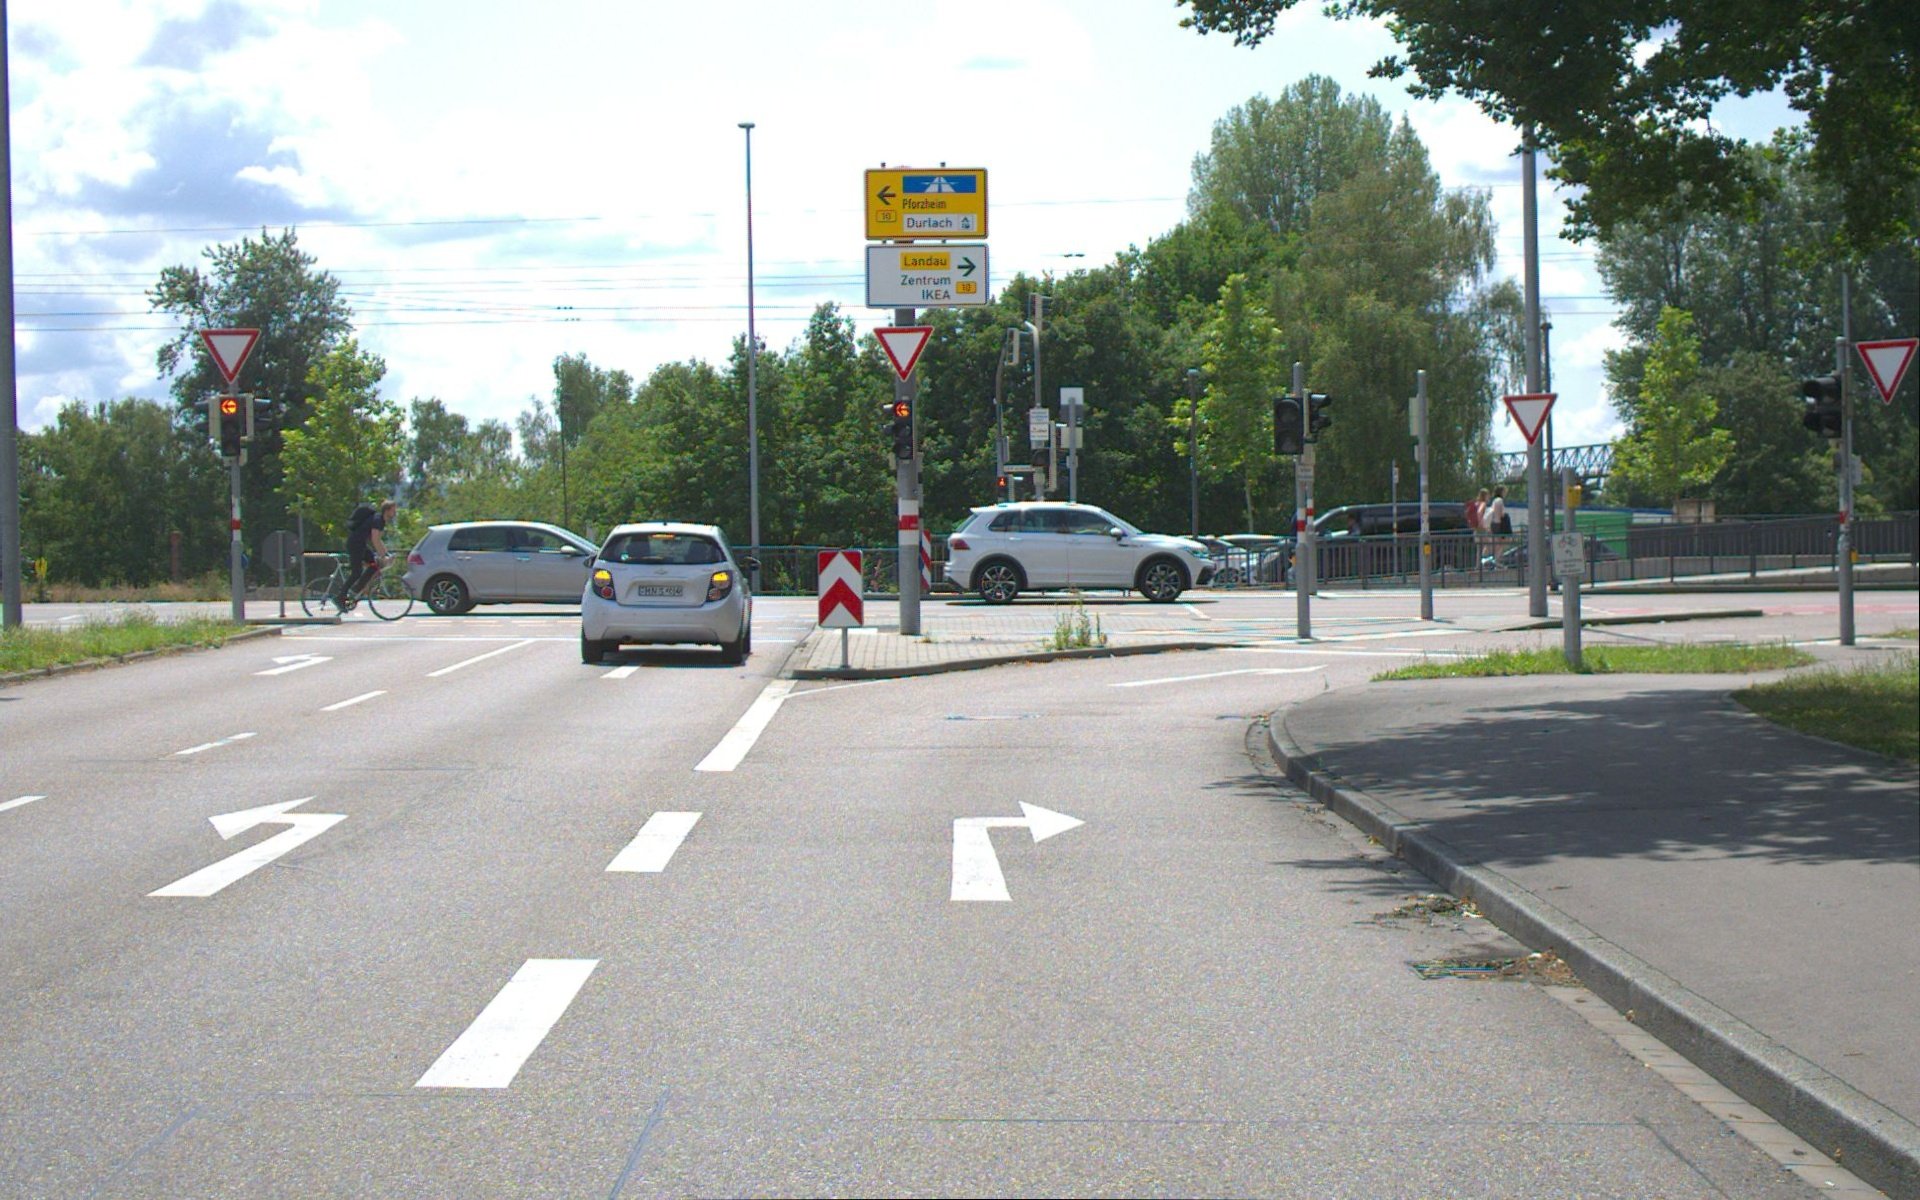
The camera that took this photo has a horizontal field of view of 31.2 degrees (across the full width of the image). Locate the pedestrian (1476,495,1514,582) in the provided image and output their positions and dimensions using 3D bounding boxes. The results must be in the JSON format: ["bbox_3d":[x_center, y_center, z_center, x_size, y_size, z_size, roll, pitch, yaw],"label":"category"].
[{"bbox_3d":[10.885,-1.251,69.936,0.676,1.742,0.637,-1,3,2],"label":"pedestrian"}]

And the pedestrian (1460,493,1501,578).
[{"bbox_3d":[10.690,-1.326,70.593,0.706,1.715,0.601,-2,1,2],"label":"pedestrian"}]

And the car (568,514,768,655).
[{"bbox_3d":[-3.187,-0.198,38.172,1.894,1.465,3.833,1,1,0],"label":"car"}]

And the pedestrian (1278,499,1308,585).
[{"bbox_3d":[6.699,-1.170,69.136,0.523,1.715,0.730,-2,1,3],"label":"pedestrian"}]

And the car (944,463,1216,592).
[{"bbox_3d":[1.950,-1.194,56.977,4.348,1.982,2.000,-1,1,-1],"label":"car"}]

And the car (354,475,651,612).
[{"bbox_3d":[-7.091,-0.879,53.675,4.348,1.982,2.000,-1,1,-1],"label":"car"}]

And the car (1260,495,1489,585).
[{"bbox_3d":[8.919,-1.297,74.237,4.651,1.814,2.000,-1,1,-1],"label":"car"}]

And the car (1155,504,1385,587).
[{"bbox_3d":[7.211,-1.275,80.317,5.117,1.802,2.000,-2,1,-1],"label":"car"}]

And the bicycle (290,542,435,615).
[{"bbox_3d":[-8.863,-0.324,51.005,2.017,0.996,0.622,2,1,-1],"label":"bicycle"}]

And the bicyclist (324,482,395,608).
[{"bbox_3d":[-8.901,-0.821,50.988,0.921,1.840,0.611,-1,1,-1],"label":"bicyclist"}]

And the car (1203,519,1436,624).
[{"bbox_3d":[6.572,-0.540,63.118,3.986,1.776,1.910,-2,1,-2],"label":"car"}]
